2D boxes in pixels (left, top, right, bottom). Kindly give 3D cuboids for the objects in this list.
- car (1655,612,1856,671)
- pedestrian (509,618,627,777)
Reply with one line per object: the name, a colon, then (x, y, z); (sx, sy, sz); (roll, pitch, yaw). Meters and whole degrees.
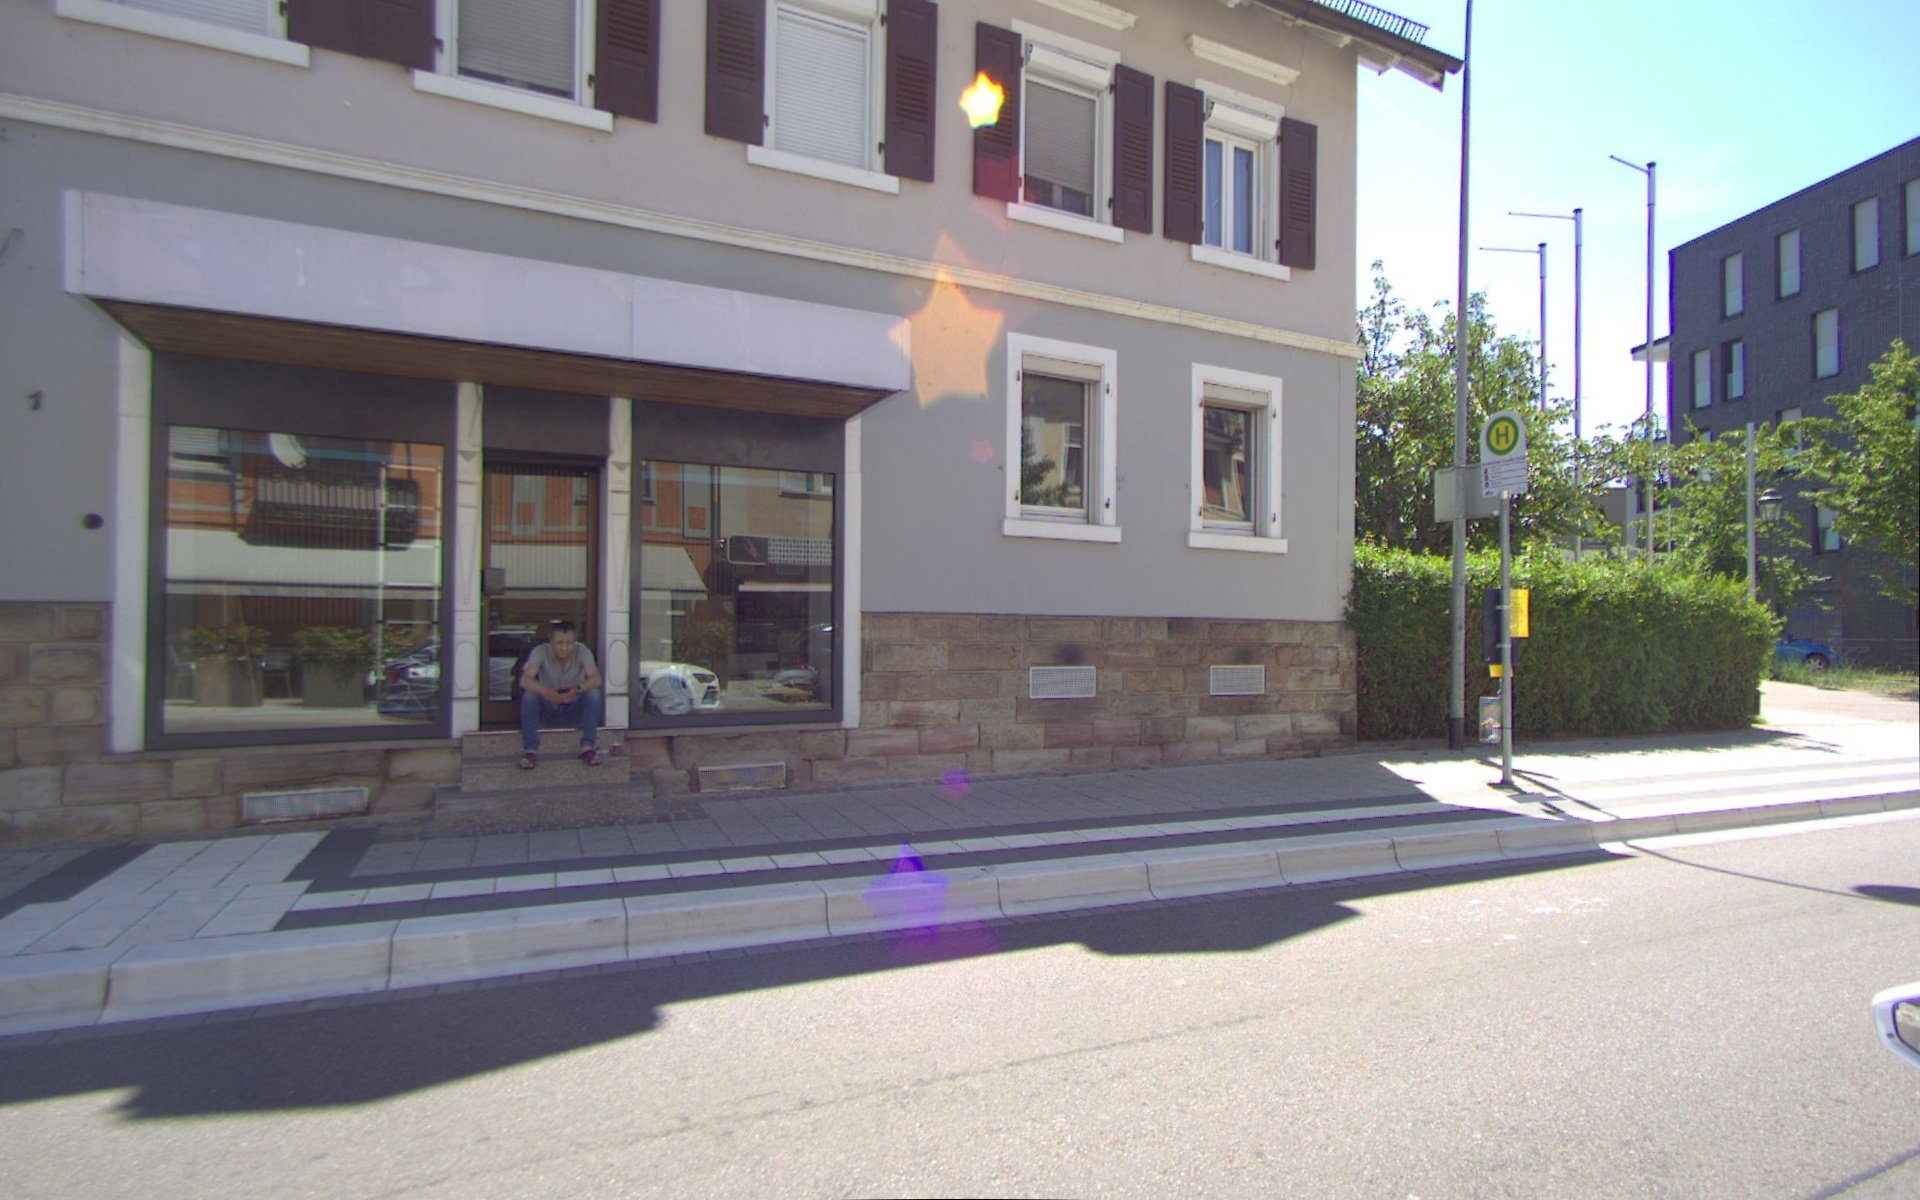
car: (22.715, 1.167, 28.843); (4.084, 1.590, 2.001); (1, -1, 7)
pedestrian: (-2.834, 0.671, 7.244); (0.691, 1.068, 0.667); (1, -1, -30)
